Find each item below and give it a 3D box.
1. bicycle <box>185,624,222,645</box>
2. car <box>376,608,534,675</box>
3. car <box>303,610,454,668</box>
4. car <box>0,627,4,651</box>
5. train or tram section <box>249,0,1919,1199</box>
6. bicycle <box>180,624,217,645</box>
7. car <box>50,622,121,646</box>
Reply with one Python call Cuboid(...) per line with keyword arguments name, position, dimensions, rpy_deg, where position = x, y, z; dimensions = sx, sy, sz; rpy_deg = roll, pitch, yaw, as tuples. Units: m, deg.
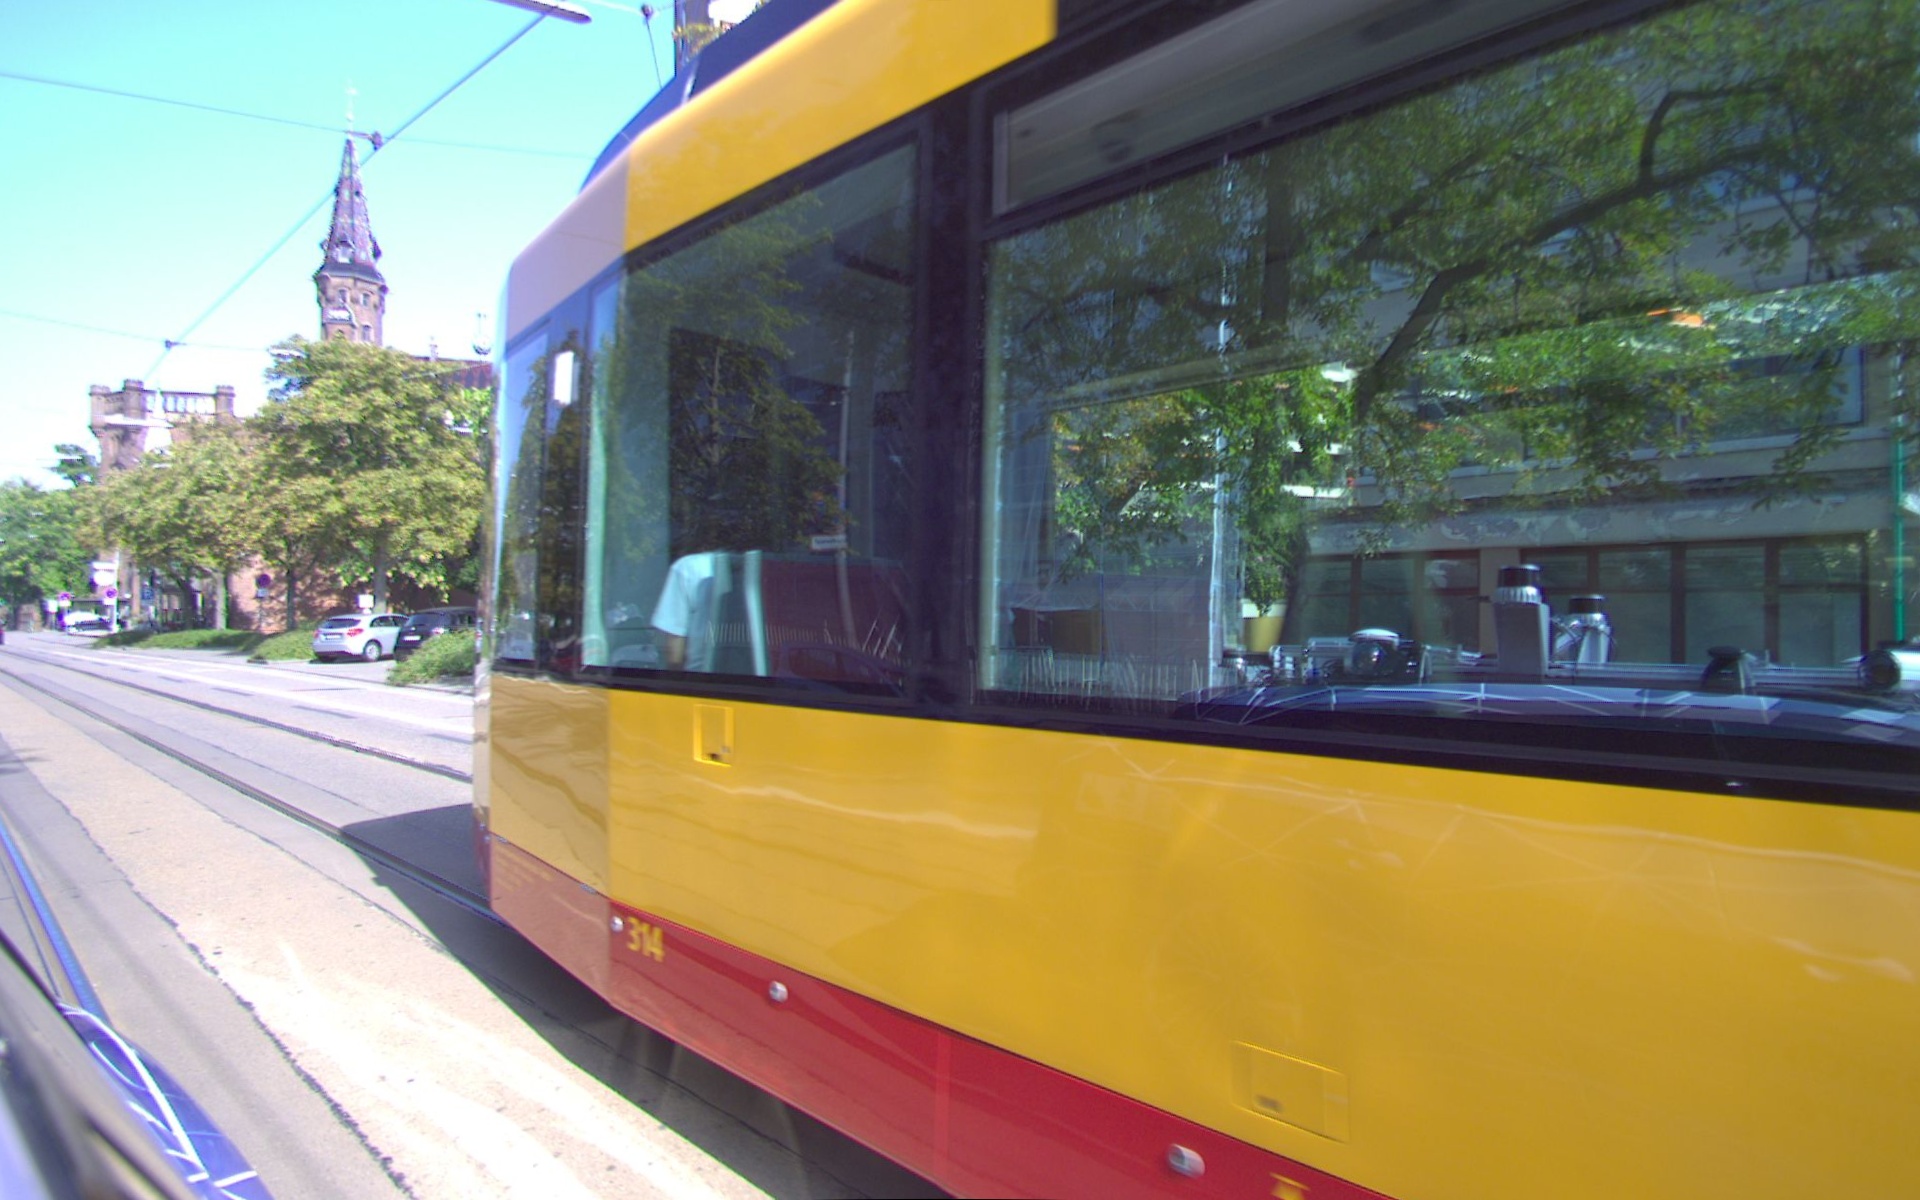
Cuboid(name="bicycle", position=(-45.561, 2.048, 60.981), dimensions=(0.418, 1.082, 1.796), rpy_deg=(-1, 3, 21))
Cuboid(name="car", position=(-13.137, 1.038, 26.552), dimensions=(1.608, 1.526, 3.625), rpy_deg=(-2, 0, 18))
Cuboid(name="car", position=(-17.789, 1.150, 31.181), dimensions=(1.771, 1.490, 3.983), rpy_deg=(-2, 1, 13))
Cuboid(name="car", position=(-57.661, 2.285, 59.500), dimensions=(4.512, 1.386, 1.809), rpy_deg=(-2, -1, 43))
Cuboid(name="train or tram section", position=(2.529, -0.108, 1.364), dimensions=(15.456, 2.916, 2.699), rpy_deg=(-1, -1, 43))
Cuboid(name="bicycle", position=(-45.988, 2.099, 61.156), dimensions=(0.418, 1.082, 1.796), rpy_deg=(-1, 3, 21))
Cuboid(name="car", position=(-74.043, 2.857, 85.738), dimensions=(1.957, 1.657, 4.349), rpy_deg=(-2, 3, 44))
